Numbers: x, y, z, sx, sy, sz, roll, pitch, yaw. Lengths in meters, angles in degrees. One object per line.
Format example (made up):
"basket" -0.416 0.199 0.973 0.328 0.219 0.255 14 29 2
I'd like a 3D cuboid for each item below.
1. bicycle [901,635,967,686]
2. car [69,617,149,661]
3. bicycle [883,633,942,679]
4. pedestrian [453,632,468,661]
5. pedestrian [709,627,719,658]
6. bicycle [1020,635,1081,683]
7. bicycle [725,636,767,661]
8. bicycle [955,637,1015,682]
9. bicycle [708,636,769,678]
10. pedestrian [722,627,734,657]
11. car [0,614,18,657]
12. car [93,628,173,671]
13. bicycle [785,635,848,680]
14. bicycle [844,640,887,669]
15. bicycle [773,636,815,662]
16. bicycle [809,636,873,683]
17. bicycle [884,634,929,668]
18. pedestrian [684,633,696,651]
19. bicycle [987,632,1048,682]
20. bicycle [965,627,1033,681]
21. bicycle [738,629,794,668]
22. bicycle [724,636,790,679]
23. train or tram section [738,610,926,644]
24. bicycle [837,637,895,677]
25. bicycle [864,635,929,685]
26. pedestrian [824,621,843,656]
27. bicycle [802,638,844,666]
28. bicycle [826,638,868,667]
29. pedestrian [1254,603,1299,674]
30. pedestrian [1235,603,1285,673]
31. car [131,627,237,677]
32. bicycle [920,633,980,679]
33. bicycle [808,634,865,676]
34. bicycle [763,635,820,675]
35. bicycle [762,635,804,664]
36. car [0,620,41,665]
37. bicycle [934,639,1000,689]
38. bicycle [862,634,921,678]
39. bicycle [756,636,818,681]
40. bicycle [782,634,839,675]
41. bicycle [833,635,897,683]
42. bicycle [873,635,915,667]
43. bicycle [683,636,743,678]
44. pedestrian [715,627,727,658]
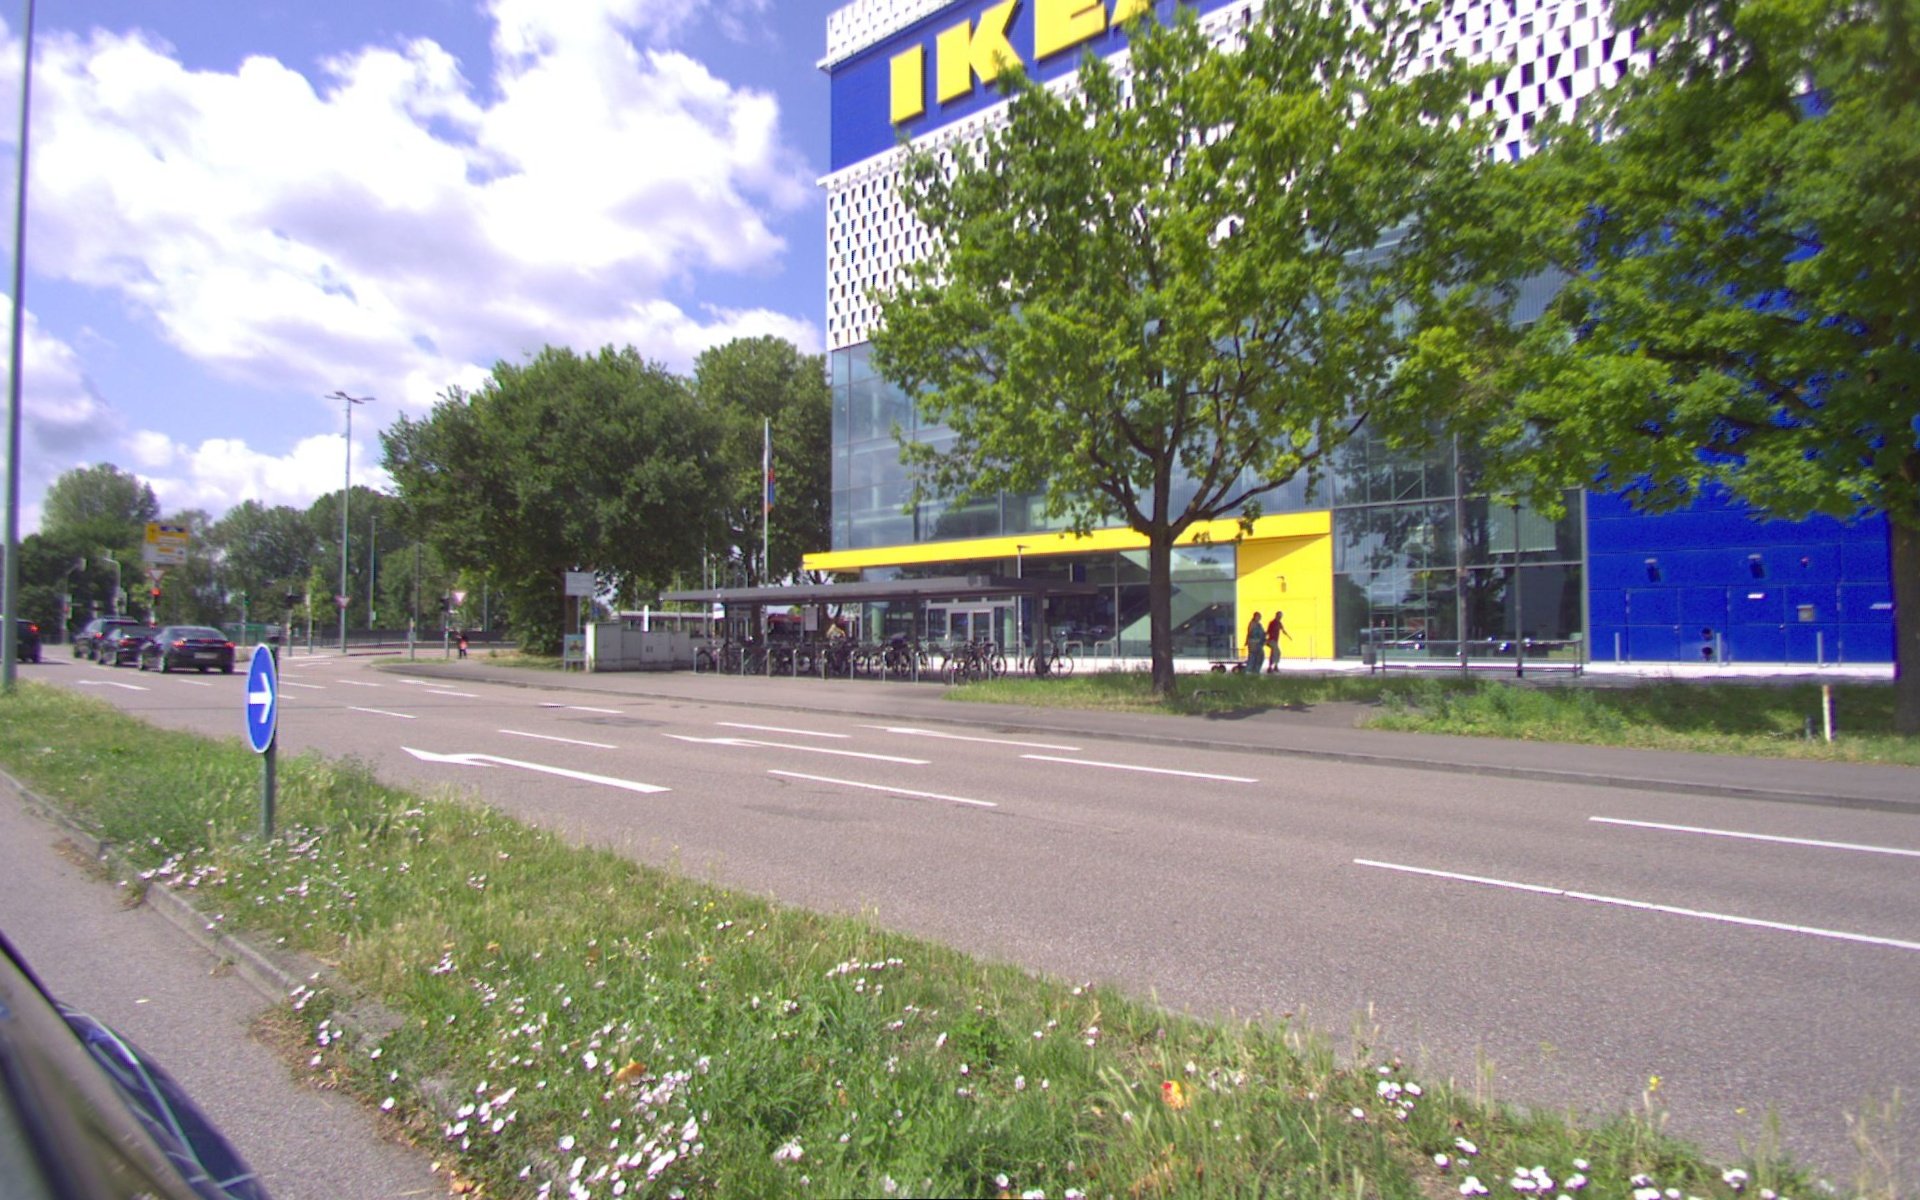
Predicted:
"bicycle" -0.679 1.586 26.716 0.629 1.282 1.905 -3 -3 40
"car" -34.370 1.560 40.832 3.997 1.627 1.752 0 -4 40
"bicycle" -1.395 1.651 30.111 0.629 1.282 1.905 -3 -3 40
"pedestrian" -26.186 2.443 53.052 0.616 1.502 0.435 -1 -2 24
"pedestrian" -13.974 2.405 57.484 0.449 1.716 0.399 -2 -3 35
"bicycle" 2.420 1.558 27.009 0.629 1.193 1.905 -3 -3 40
"bicycle" -9.357 2.109 44.340 0.528 1.078 1.916 -1 -2 36
"bicycle" 0.712 1.637 28.295 0.629 1.188 1.905 -3 -3 40
"bicycle" -7.041 1.800 32.223 0.629 1.282 1.905 -3 -3 40
"pedestrian" -13.344 2.416 58.285 0.408 1.716 0.522 -2 -3 32
"car" -38.511 1.319 39.674 4.374 1.632 1.691 0 -4 40
"car" -28.845 1.702 35.255 4.094 1.402 1.397 -1 -4 41
"bicycle" -4.226 1.691 29.968 0.629 1.282 1.905 -3 -3 40
"bicycle" -3.709 2.134 39.879 0.528 1.078 1.916 -1 -2 36
"bicycle" -6.902 2.032 42.169 0.528 1.078 1.916 -1 -2 36
"bicycle" -3.420 1.695 29.223 0.629 1.282 1.905 -3 -3 40
"bicycle" -2.020 1.925 38.481 0.596 1.253 1.927 -1 -2 36
"pedestrian" -27.367 4.270 102.609 0.759 1.867 0.783 -2 -4 33
"bicycle" 1.580 1.534 27.629 0.629 1.282 1.905 -3 -3 40
"bicycle" 0.990 1.317 25.225 0.629 1.282 1.905 -3 -3 40
"bicycle" -6.652 1.656 34.750 0.629 1.282 1.905 -3 -3 40
"bicycle" -6.285 1.768 31.448 0.629 1.282 2.068 -3 -3 40
"train or tram section" -13.573 3.233 113.503 4.525 3.055 24.798 -2 -4 39
"bicycle" -2.903 1.763 31.436 0.629 1.192 1.905 -3 -3 40
"bicycle" -1.706 1.599 27.461 0.629 1.282 1.905 -3 -3 40
"pedestrian" -6.183 1.875 49.357 0.885 1.719 0.711 0 -2 -6
"bicycle" -5.581 2.121 41.345 0.528 1.078 1.916 -1 -2 36
"bicycle" -4.500 2.103 40.466 0.519 1.098 1.912 -3 -3 36
"pedestrian" 8.453 1.017 27.028 0.886 1.836 0.746 -2 -2 41
"pedestrian" 7.613 0.957 25.673 0.886 1.715 0.940 -2 -2 41
"car" -24.348 1.620 31.700 4.516 1.432 1.646 -1 -4 40
"bicycle" -0.279 1.598 29.172 0.629 1.282 1.905 -3 -3 40
"bicycle" -3.933 1.745 32.345 0.629 1.282 1.905 -3 -3 40
"bicycle" -5.619 1.836 33.864 0.629 1.282 1.905 -3 -3 40
"bicycle" -7.415 2.084 42.533 0.467 1.181 1.938 -3 -3 36
"car" -33.306 1.440 35.038 4.129 1.505 1.587 -1 -4 40
"bicycle" 0.198 1.620 25.966 0.629 1.192 1.905 -3 -3 40
"bicycle" -2.068 1.705 30.875 0.629 1.282 1.905 -3 -3 40
"bicycle" -5.237 1.761 30.724 0.629 1.282 1.905 -3 -3 40
"bicycle" -4.895 1.780 33.255 0.629 1.282 1.905 -3 -3 40
"bicycle" -2.657 1.636 28.490 0.629 1.282 1.905 -3 -3 40
"bicycle" -2.522 1.943 38.911 0.528 1.219 1.916 -1 -2 36
"bicycle" -8.066 1.844 33.057 0.629 1.282 1.905 -3 -3 40
"pedestrian" -13.509 2.390 57.154 0.515 1.716 0.405 -2 -3 35
